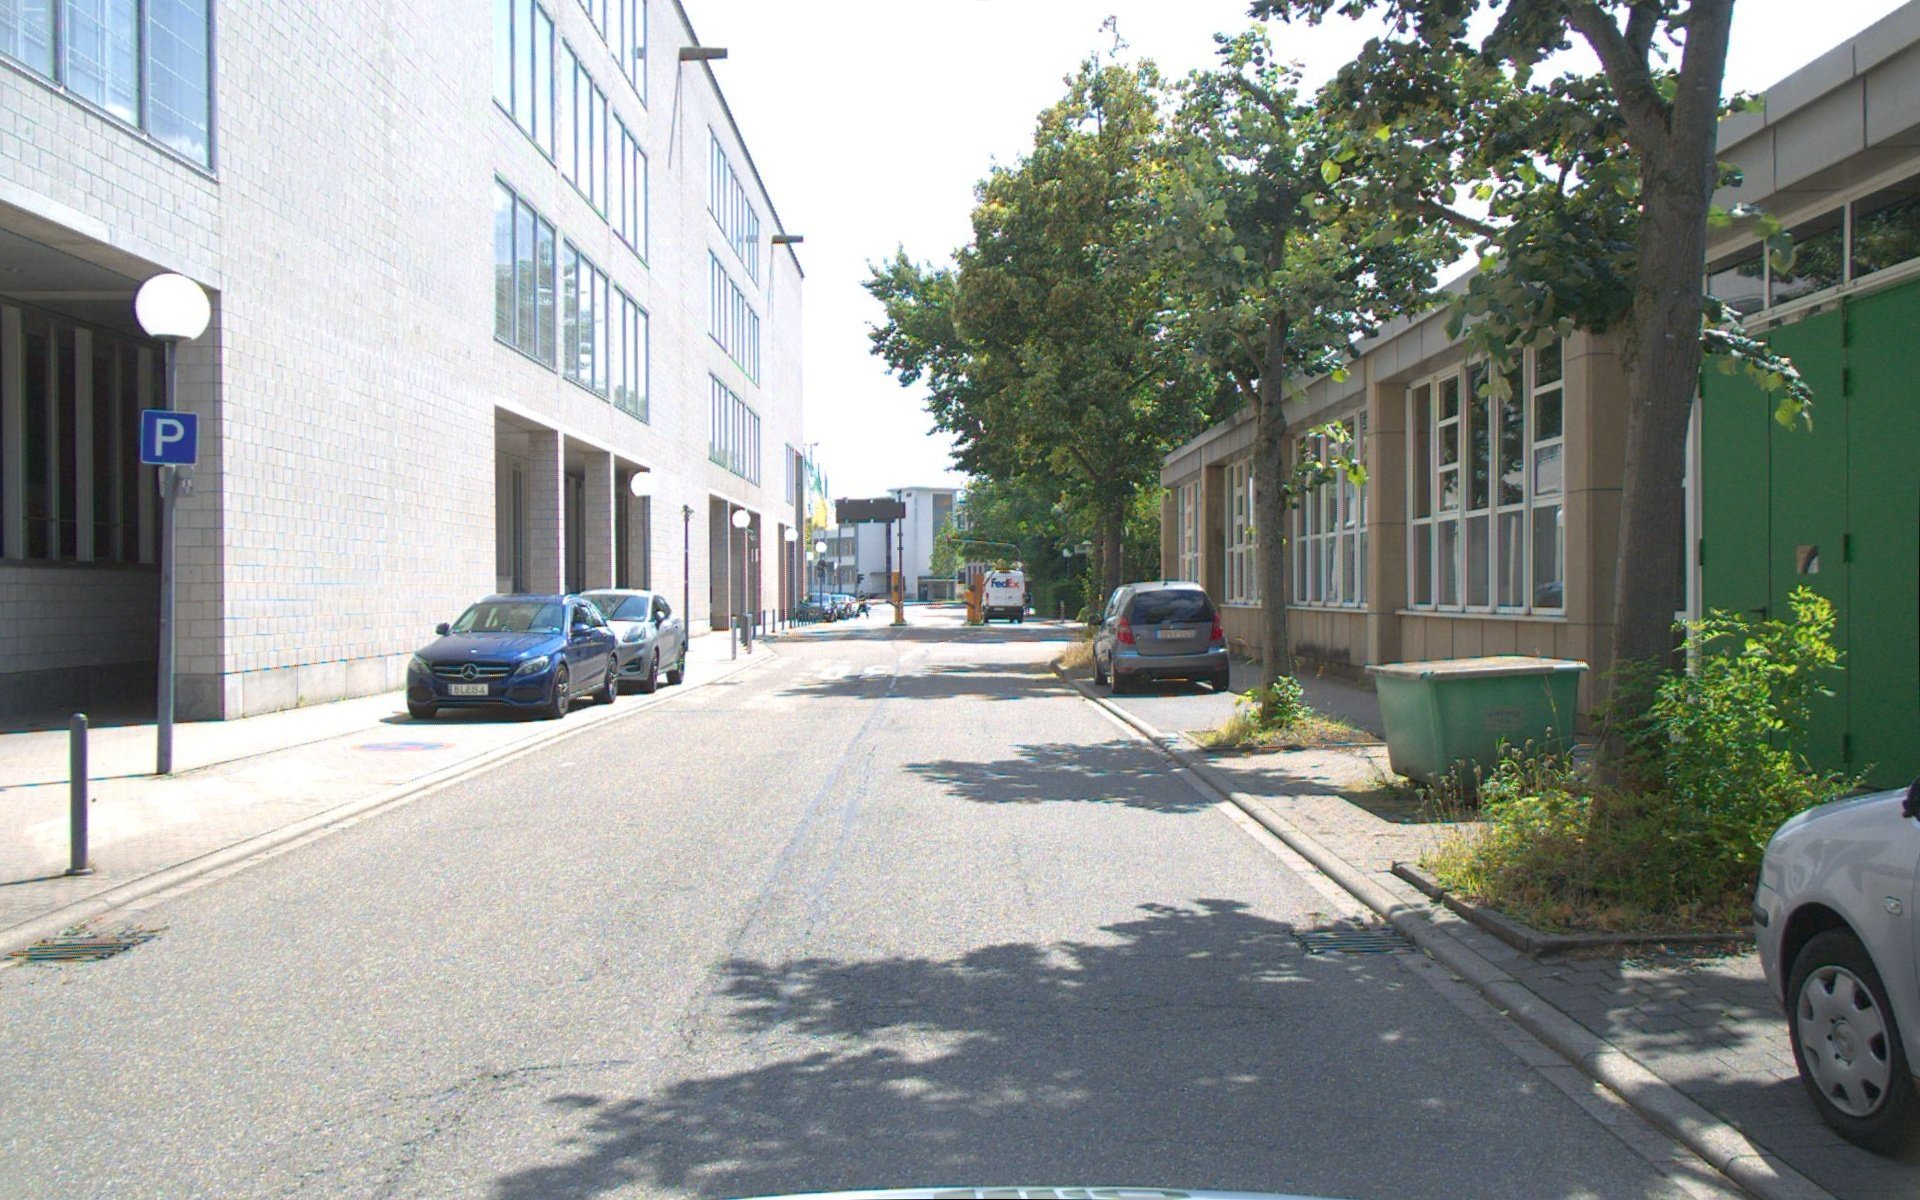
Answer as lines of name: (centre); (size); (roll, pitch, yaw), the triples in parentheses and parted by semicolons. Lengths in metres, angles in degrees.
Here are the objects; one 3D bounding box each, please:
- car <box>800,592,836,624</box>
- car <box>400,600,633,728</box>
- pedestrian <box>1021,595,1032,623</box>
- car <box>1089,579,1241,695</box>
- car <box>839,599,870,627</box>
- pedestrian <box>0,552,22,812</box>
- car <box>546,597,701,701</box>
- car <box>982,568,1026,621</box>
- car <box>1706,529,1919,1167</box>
car: (-7.381, 0.445, 86.219); (1.612, 1.524, 3.727); (-1, -2, -1)
car: (-5.492, 0.747, 21.027); (1.730, 1.452, 4.235); (0, 0, 1)
pedestrian: (4.264, 0.562, 106.053); (0.646, 1.759, 0.635); (0, 0, -1)
car: (3.075, 0.525, 25.581); (1.820, 1.601, 4.000); (-2, 0, 0)
car: (-6.232, 0.785, 98.079); (1.612, 1.524, 3.727); (-1, -2, -1)
pedestrian: (-6.698, 0.546, 10.889); (0.638, 1.731, 0.887); (0, 0, -11)
car: (-5.267, 0.730, 26.349); (1.597, 1.511, 4.177); (0, 0, 0)
car: (2.178, -0.281, 82.951); (2.041, 2.584, 4.315); (0, 0, -1)
car: (3.144, 0.606, 3.319); (1.583, 1.565, 3.779); (0, 0, 0)
